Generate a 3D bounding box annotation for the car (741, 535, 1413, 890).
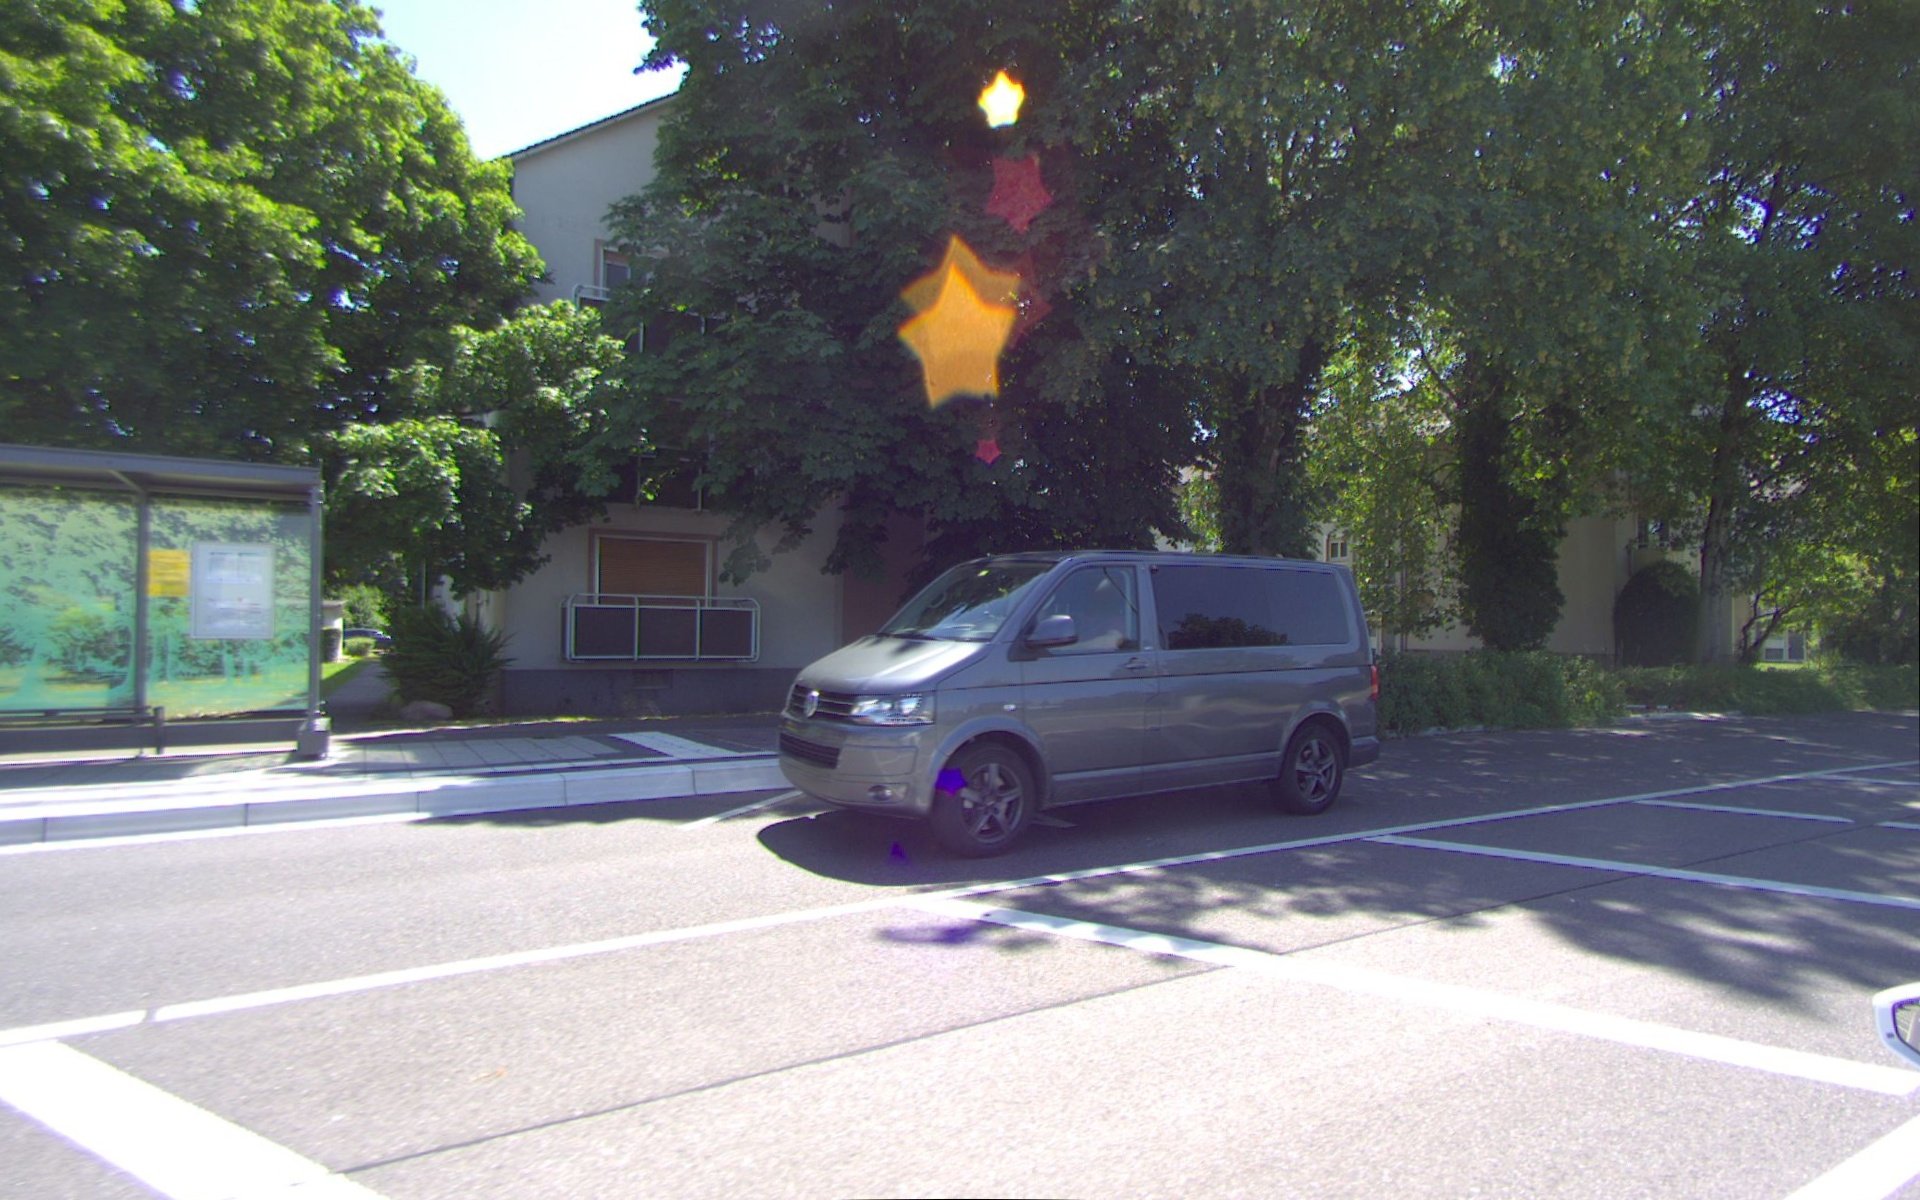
[{"bbox_3d":[1.049,0.660,7.647,4.936,1.935,1.983,1,0,-32],"label":"car"}]
